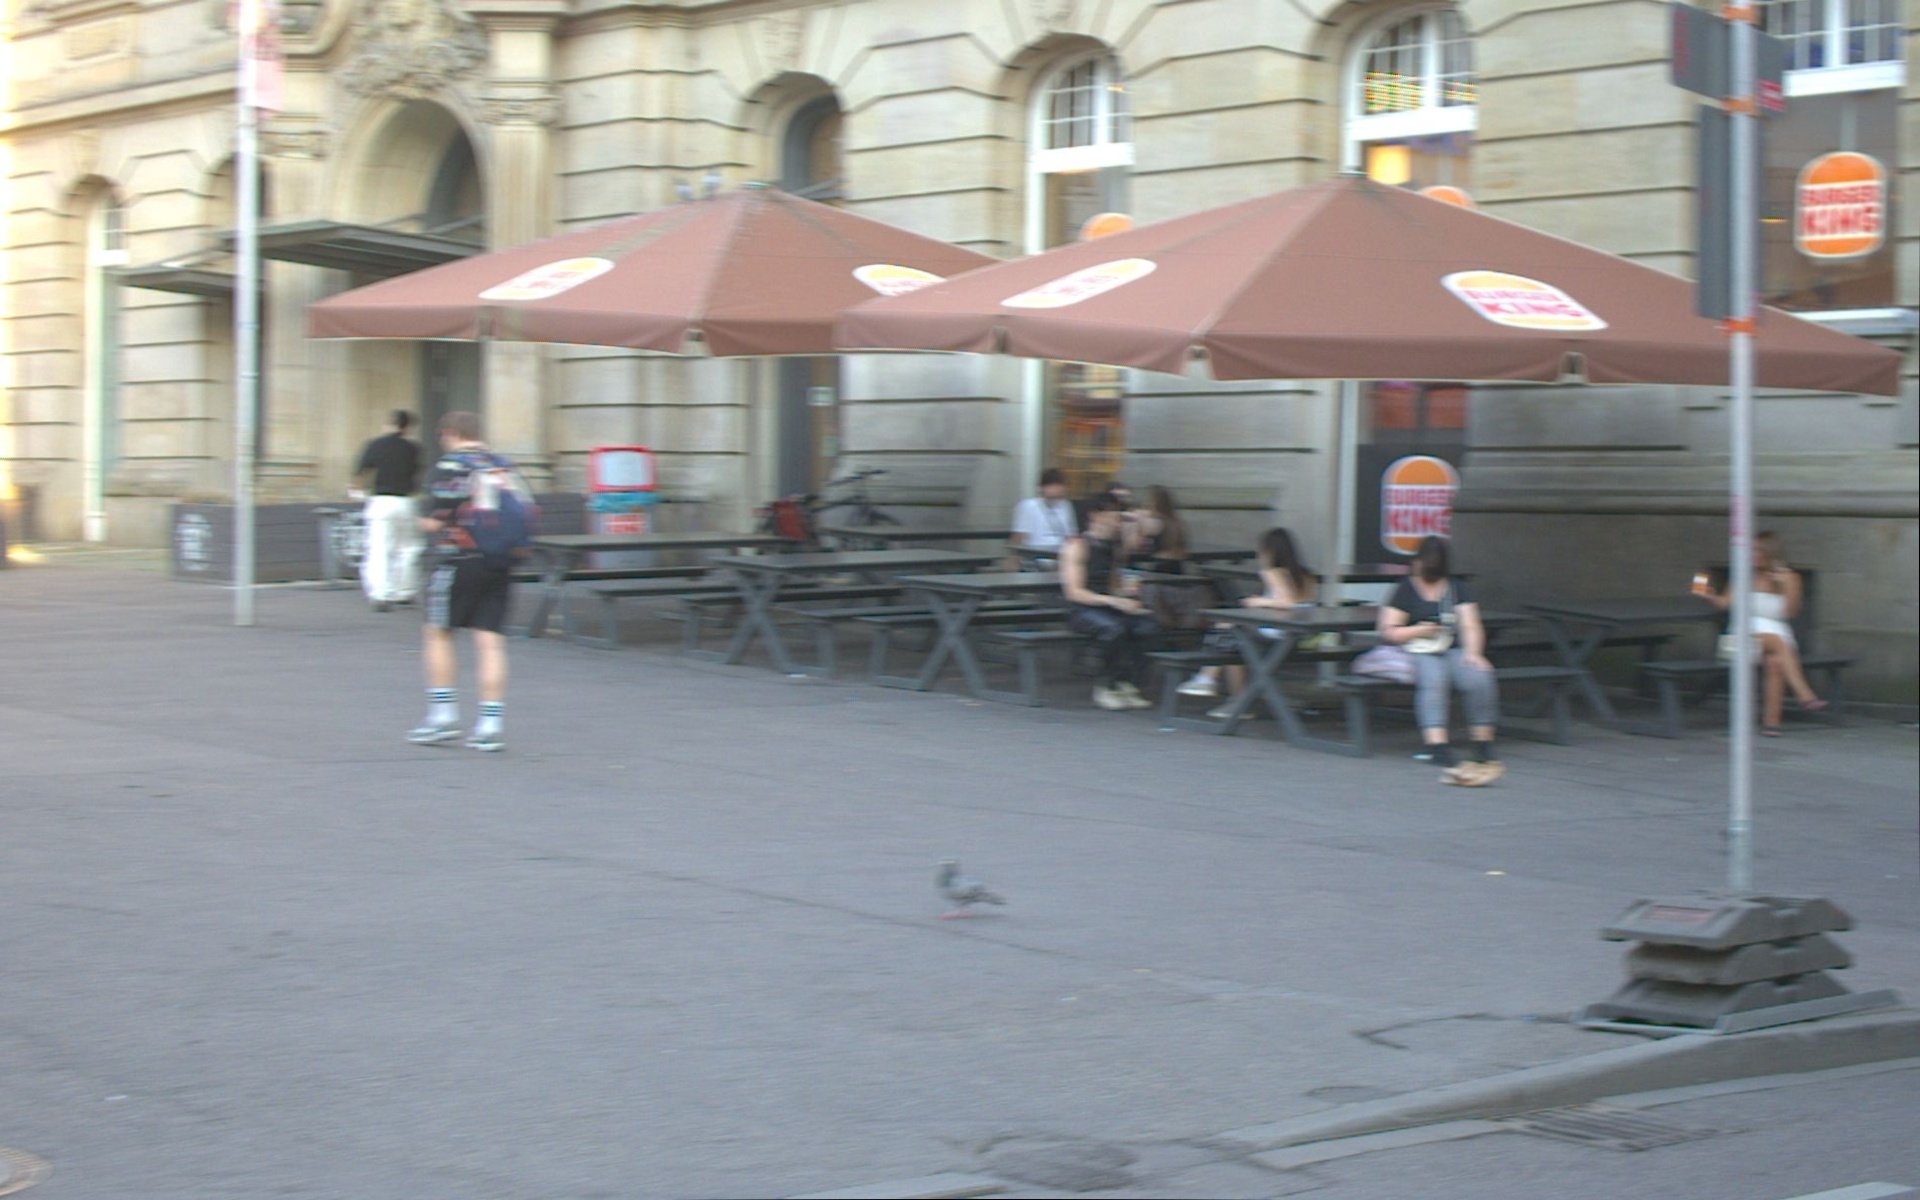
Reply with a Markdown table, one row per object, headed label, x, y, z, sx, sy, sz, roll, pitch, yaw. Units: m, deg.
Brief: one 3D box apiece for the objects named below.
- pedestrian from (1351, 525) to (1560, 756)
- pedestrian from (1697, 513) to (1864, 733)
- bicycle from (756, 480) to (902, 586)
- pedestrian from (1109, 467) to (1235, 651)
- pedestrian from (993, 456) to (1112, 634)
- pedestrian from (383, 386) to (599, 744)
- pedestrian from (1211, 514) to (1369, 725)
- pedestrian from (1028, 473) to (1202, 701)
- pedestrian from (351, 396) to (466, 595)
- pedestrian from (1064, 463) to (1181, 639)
| label | x | y | z | sx | sy | sz | roll | pitch | yaw |
| --- | --- | --- | --- | --- | --- | --- | --- | --- | --- |
| pedestrian | 2.836 | 0.227 | 19.716 | 0.778 | 1.238 | 0.828 | 2 | 4 | -26 |
| pedestrian | 5.158 | 0.139 | 21.649 | 0.662 | 1.304 | 0.773 | 1 | 5 | -15 |
| bicycle | -1.133 | -0.590 | 29.930 | 1.318 | 0.891 | 0.410 | -2 | 4 | -44 |
| pedestrian | 1.564 | -0.305 | 25.373 | 0.607 | 1.304 | 0.608 | 0 | 4 | -44 |
| pedestrian | 0.704 | -0.418 | 26.187 | 0.592 | 1.304 | 0.582 | 0 | 4 | -44 |
| pedestrian | -2.459 | -0.198 | 17.998 | 0.808 | 1.817 | 0.806 | 0 | 3 | -35 |
| pedestrian | 2.010 | 0.113 | 21.011 | 0.615 | 1.222 | 0.701 | 2 | 4 | -26 |
| pedestrian | 0.980 | -0.084 | 21.800 | 0.803 | 1.378 | 0.653 | 1 | 4 | -29 |
| pedestrian | -4.490 | -0.859 | 27.955 | 0.847 | 1.560 | 0.850 | 1 | 3 | -12 |
| pedestrian | 1.257 | -0.379 | 26.549 | 0.592 | 1.304 | 0.582 | 0 | 4 | -42 |
